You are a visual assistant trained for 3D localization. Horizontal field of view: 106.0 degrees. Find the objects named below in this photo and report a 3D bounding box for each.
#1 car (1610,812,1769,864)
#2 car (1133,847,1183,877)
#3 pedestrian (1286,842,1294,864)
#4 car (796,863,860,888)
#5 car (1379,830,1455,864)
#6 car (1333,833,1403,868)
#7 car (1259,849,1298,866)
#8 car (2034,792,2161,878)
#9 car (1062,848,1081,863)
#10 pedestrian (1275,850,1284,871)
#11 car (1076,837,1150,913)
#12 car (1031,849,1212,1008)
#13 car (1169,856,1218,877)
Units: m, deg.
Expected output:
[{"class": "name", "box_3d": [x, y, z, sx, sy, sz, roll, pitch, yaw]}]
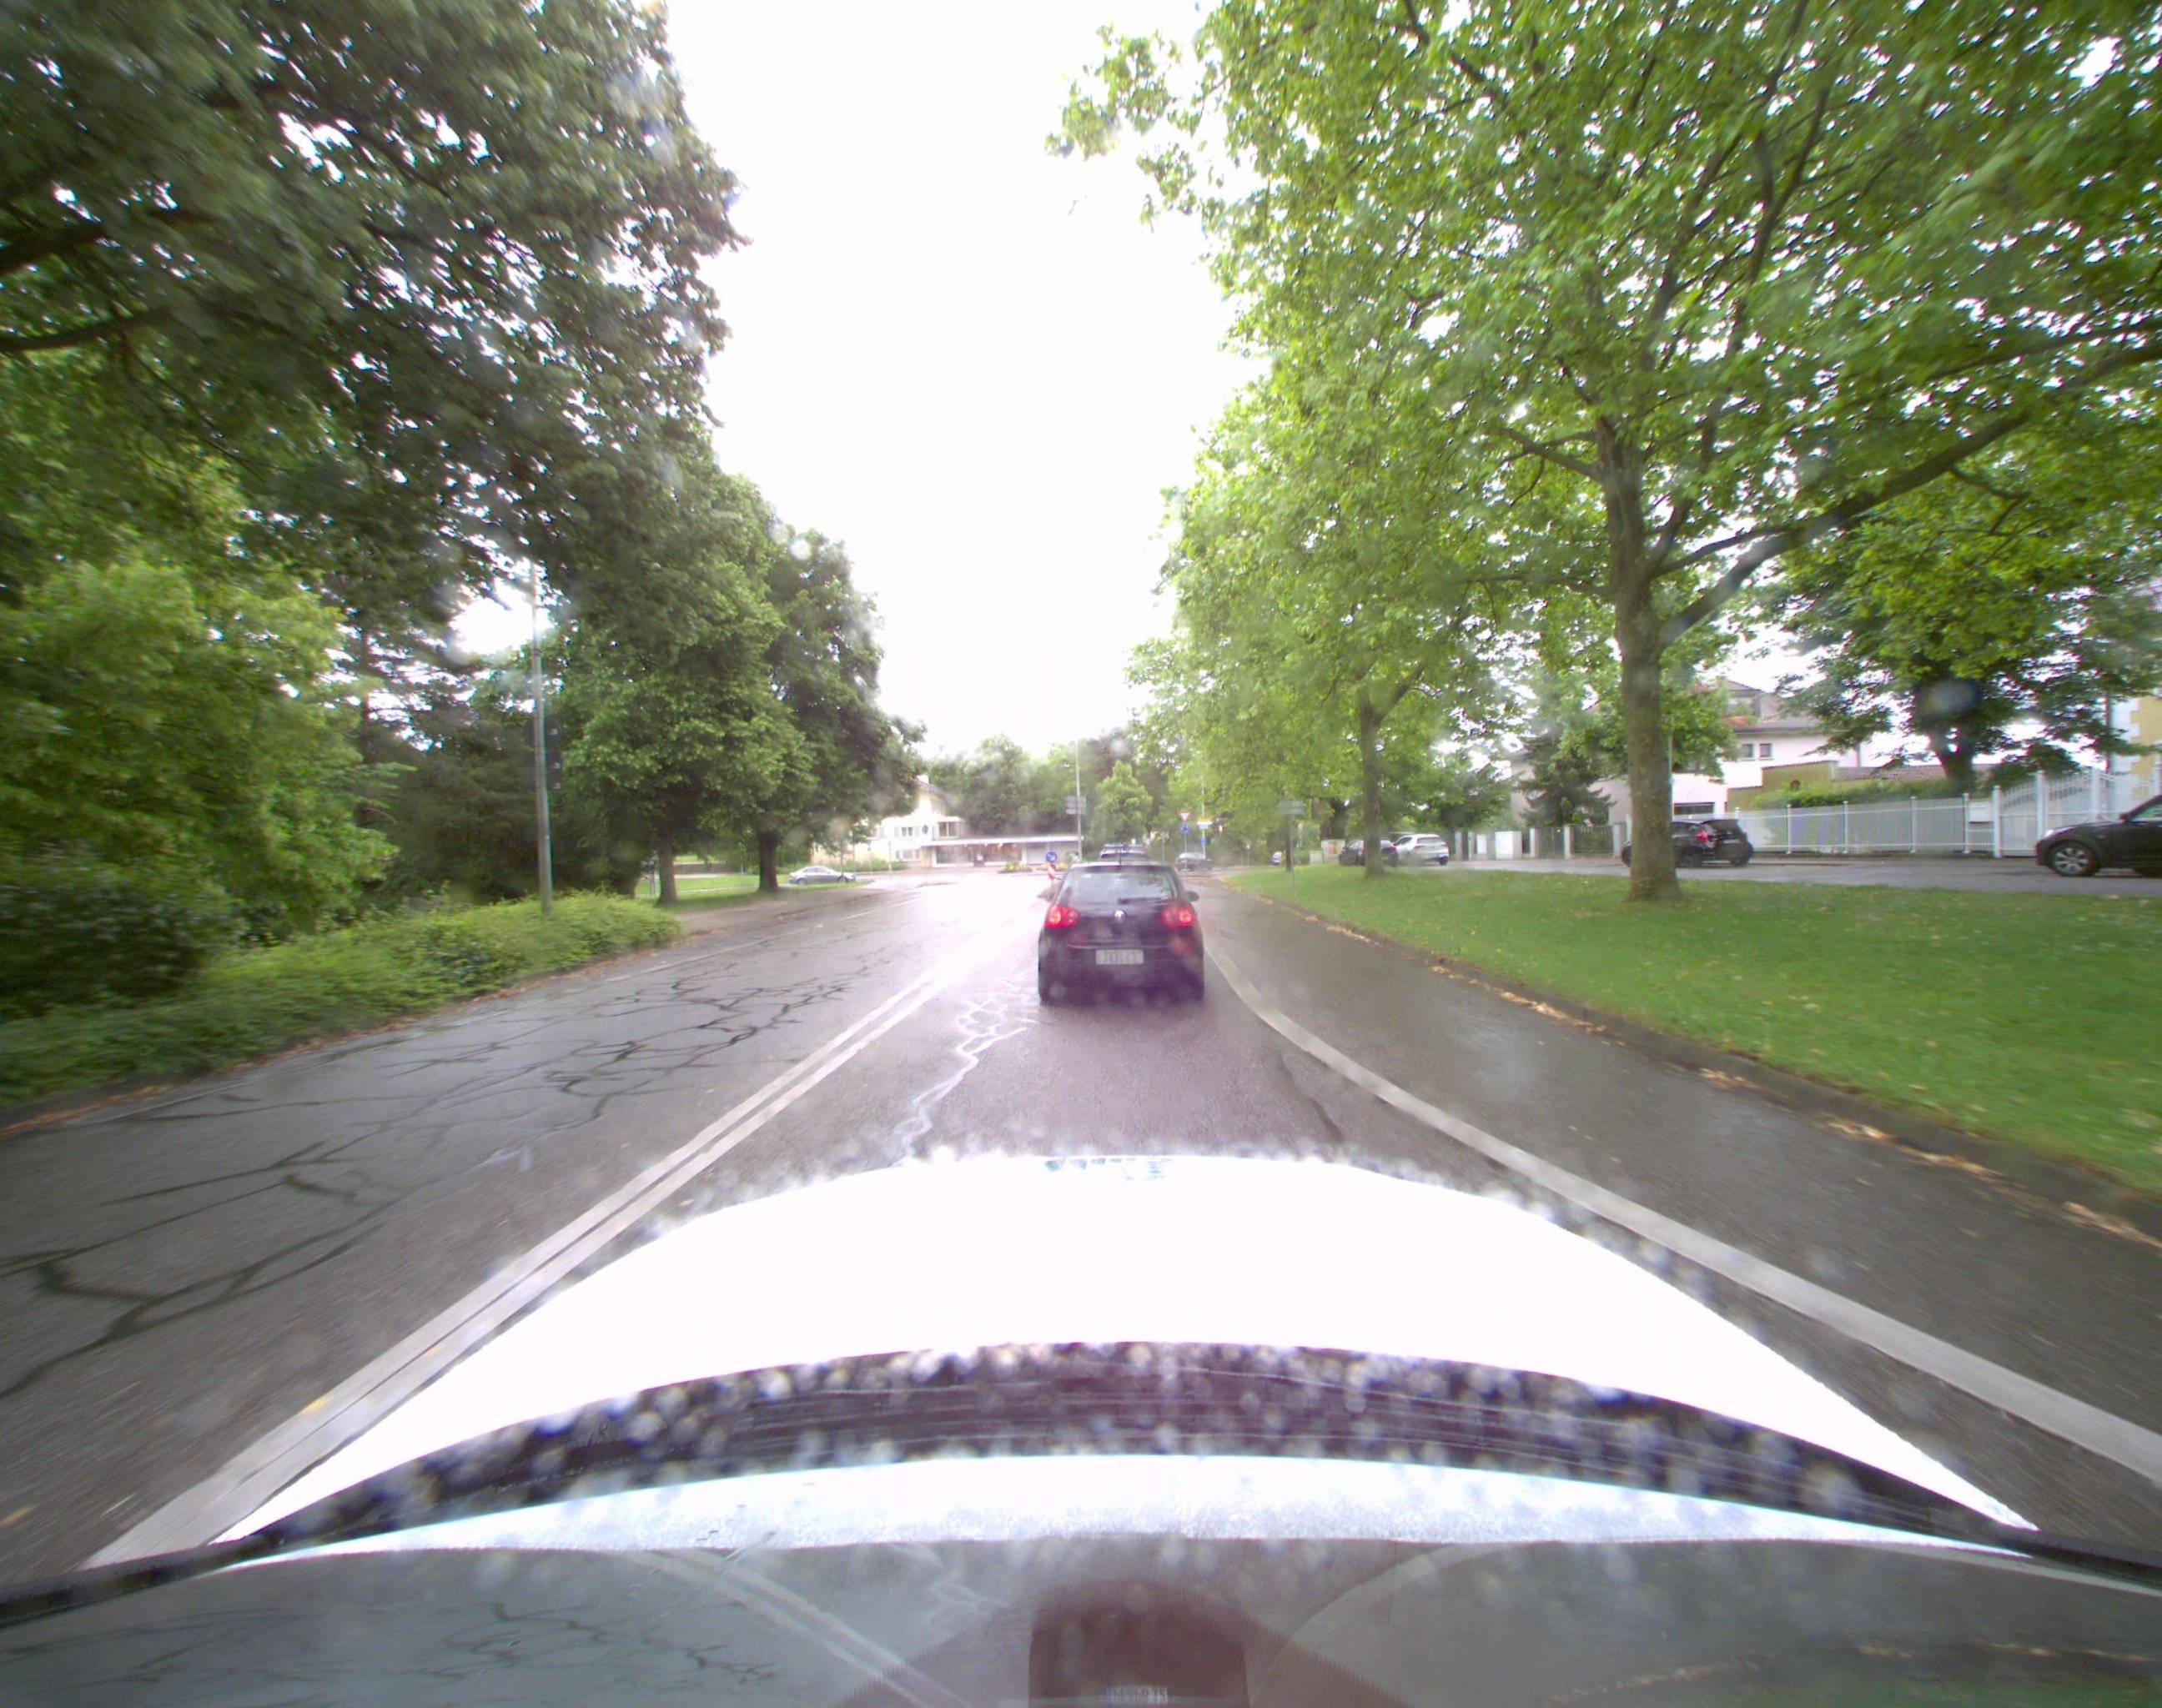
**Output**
[{"class": "car", "box_3d": [19.287, -0.446, 26.094, 1.755, 1.471, 4.354, -2, 0, -2]}, {"class": "car", "box_3d": [4.741, 0.470, 49.808, 1.977, 1.741, 4.165, 0, 0, 21]}, {"class": "pedestrian", "box_3d": [16.839, -0.078, 65.594, 0.628, 1.713, 0.532, 0, -1, 19]}, {"class": "car", "box_3d": [-17.715, 1.473, 57.144, 4.019, 1.684, 1.993, 0, 0, -10]}, {"class": "car", "box_3d": [16.137, -0.290, 39.354, 1.839, 1.471, 4.426, -3, 0, 0]}, {"class": "car", "box_3d": [13.683, -0.159, 39.153, 1.758, 1.471, 4.599, -4, -1, 1]}, {"class": "car", "box_3d": [17.916, 0.303, 73.762, 1.974, 1.530, 4.025, -1, -1, 37]}, {"class": "car", "box_3d": [19.474, -0.334, 13.724, 1.988, 1.471, 4.122, 0, 0, -2]}, {"class": "car", "box_3d": [-1.067, 0.150, 88.052, 1.809, 1.486, 3.825, -3, 0, -4]}, {"class": "pedestrian", "box_3d": [15.815, 0.517, 64.865, 0.528, 1.713, 0.633, 0, -1, -12]}, {"class": "car", "box_3d": [0.853, 0.538, 22.448, 1.758, 1.801, 4.247, -3, -1, 1]}, {"class": "car", "box_3d": [0.444, 0.736, 9.906, 1.758, 1.538, 4.001, 0, 0, 1]}, {"class": "car", "box_3d": [8.429, 0.936, 60.816, 1.974, 1.530, 4.025, -1, -1, 37]}]
